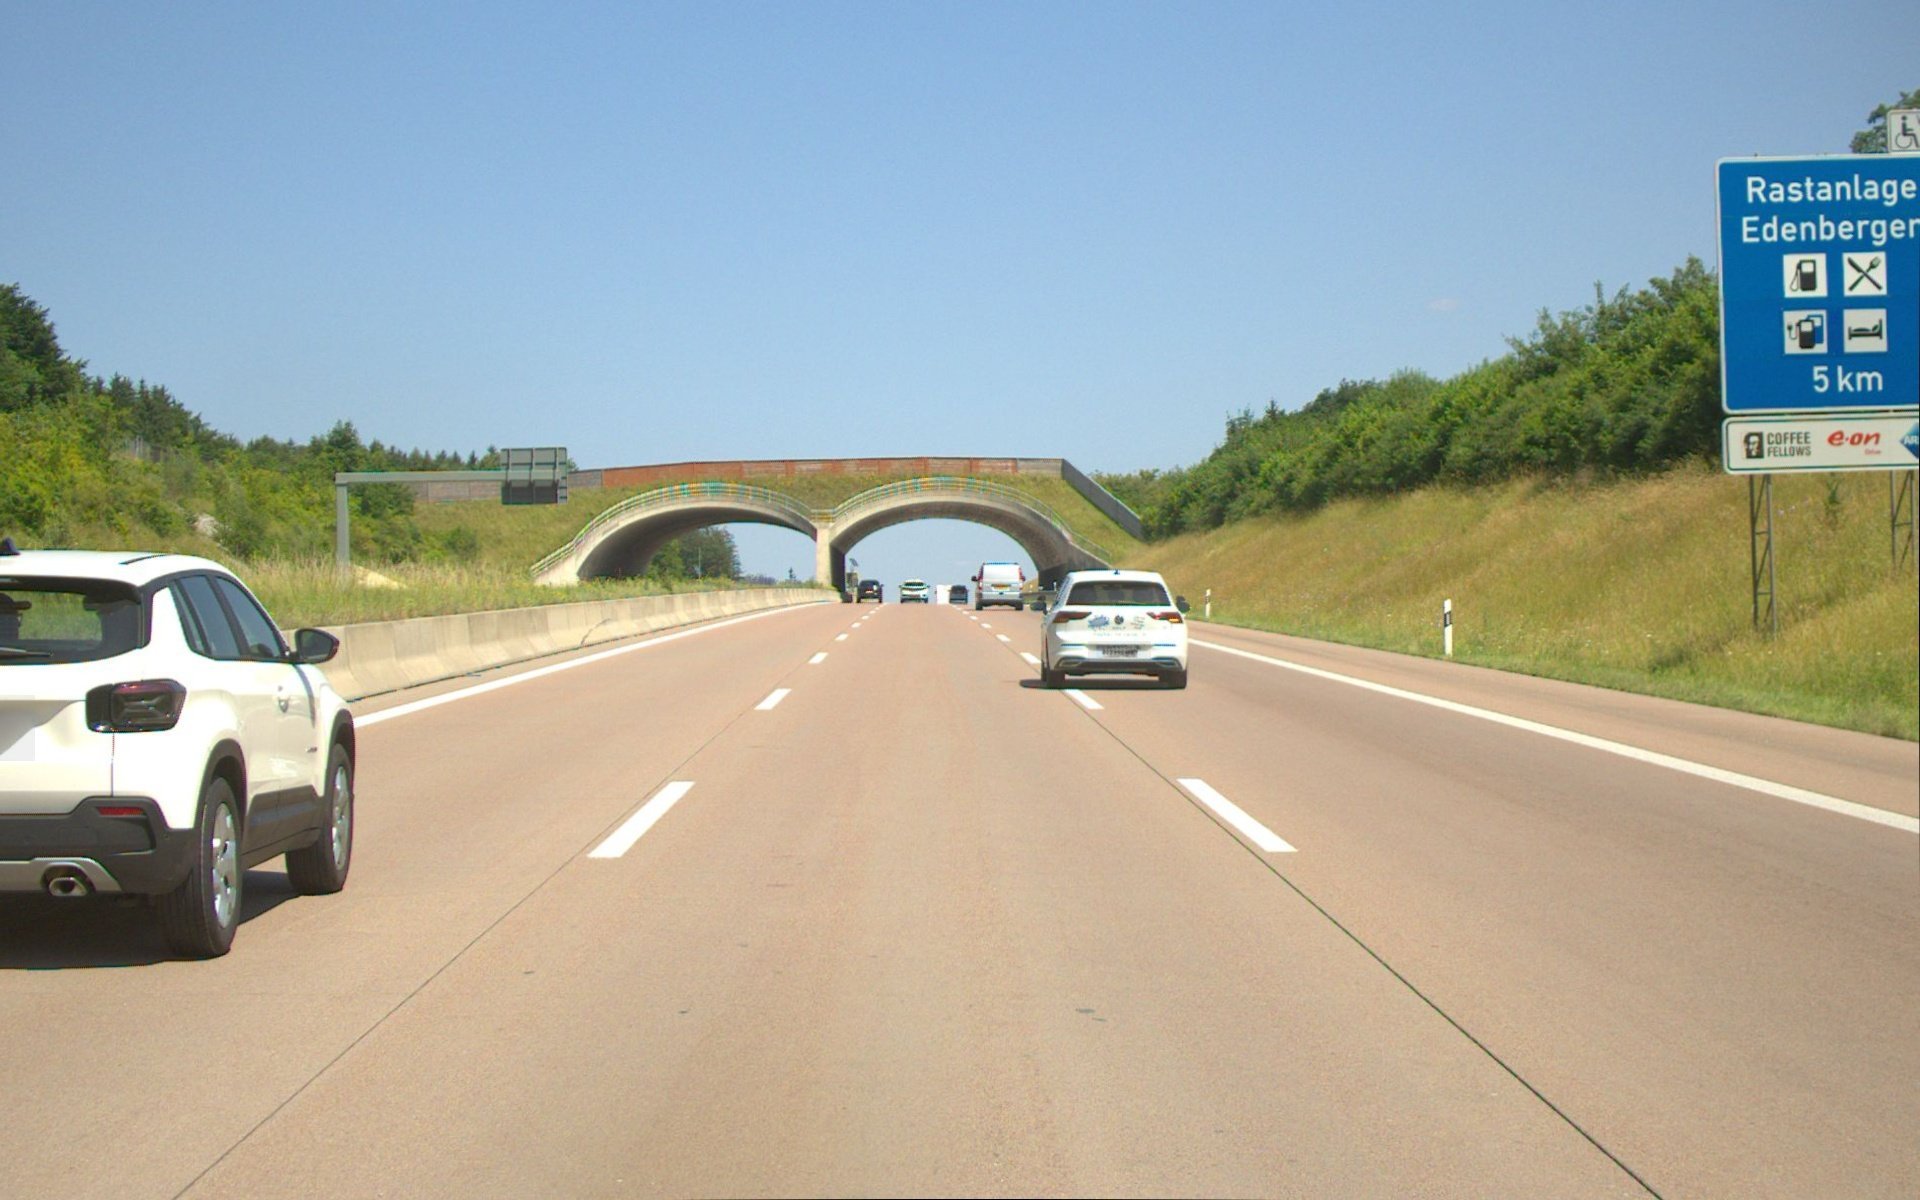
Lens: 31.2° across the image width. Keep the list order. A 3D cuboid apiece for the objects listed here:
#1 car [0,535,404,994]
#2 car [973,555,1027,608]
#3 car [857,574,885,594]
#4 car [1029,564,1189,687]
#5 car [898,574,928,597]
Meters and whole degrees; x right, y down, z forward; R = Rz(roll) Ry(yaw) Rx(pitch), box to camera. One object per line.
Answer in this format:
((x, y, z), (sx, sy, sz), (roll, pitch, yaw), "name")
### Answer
((-3.629, 0.534, 14.420), (1.879, 1.602, 4.834), (0, 1, -1), "car")
((1.633, -0.750, 139.153), (2.110, 2.047, 4.000), (0, 2, 1), "car")
((-6.661, -1.213, 258.268), (1.891, 1.458, 4.000), (0, 2, 1), "car")
((1.831, 0.282, 43.227), (1.891, 1.393, 4.000), (1, 1, 1), "car")
((-3.045, -0.963, 224.897), (1.891, 1.458, 4.000), (1, 1, 0), "car")
